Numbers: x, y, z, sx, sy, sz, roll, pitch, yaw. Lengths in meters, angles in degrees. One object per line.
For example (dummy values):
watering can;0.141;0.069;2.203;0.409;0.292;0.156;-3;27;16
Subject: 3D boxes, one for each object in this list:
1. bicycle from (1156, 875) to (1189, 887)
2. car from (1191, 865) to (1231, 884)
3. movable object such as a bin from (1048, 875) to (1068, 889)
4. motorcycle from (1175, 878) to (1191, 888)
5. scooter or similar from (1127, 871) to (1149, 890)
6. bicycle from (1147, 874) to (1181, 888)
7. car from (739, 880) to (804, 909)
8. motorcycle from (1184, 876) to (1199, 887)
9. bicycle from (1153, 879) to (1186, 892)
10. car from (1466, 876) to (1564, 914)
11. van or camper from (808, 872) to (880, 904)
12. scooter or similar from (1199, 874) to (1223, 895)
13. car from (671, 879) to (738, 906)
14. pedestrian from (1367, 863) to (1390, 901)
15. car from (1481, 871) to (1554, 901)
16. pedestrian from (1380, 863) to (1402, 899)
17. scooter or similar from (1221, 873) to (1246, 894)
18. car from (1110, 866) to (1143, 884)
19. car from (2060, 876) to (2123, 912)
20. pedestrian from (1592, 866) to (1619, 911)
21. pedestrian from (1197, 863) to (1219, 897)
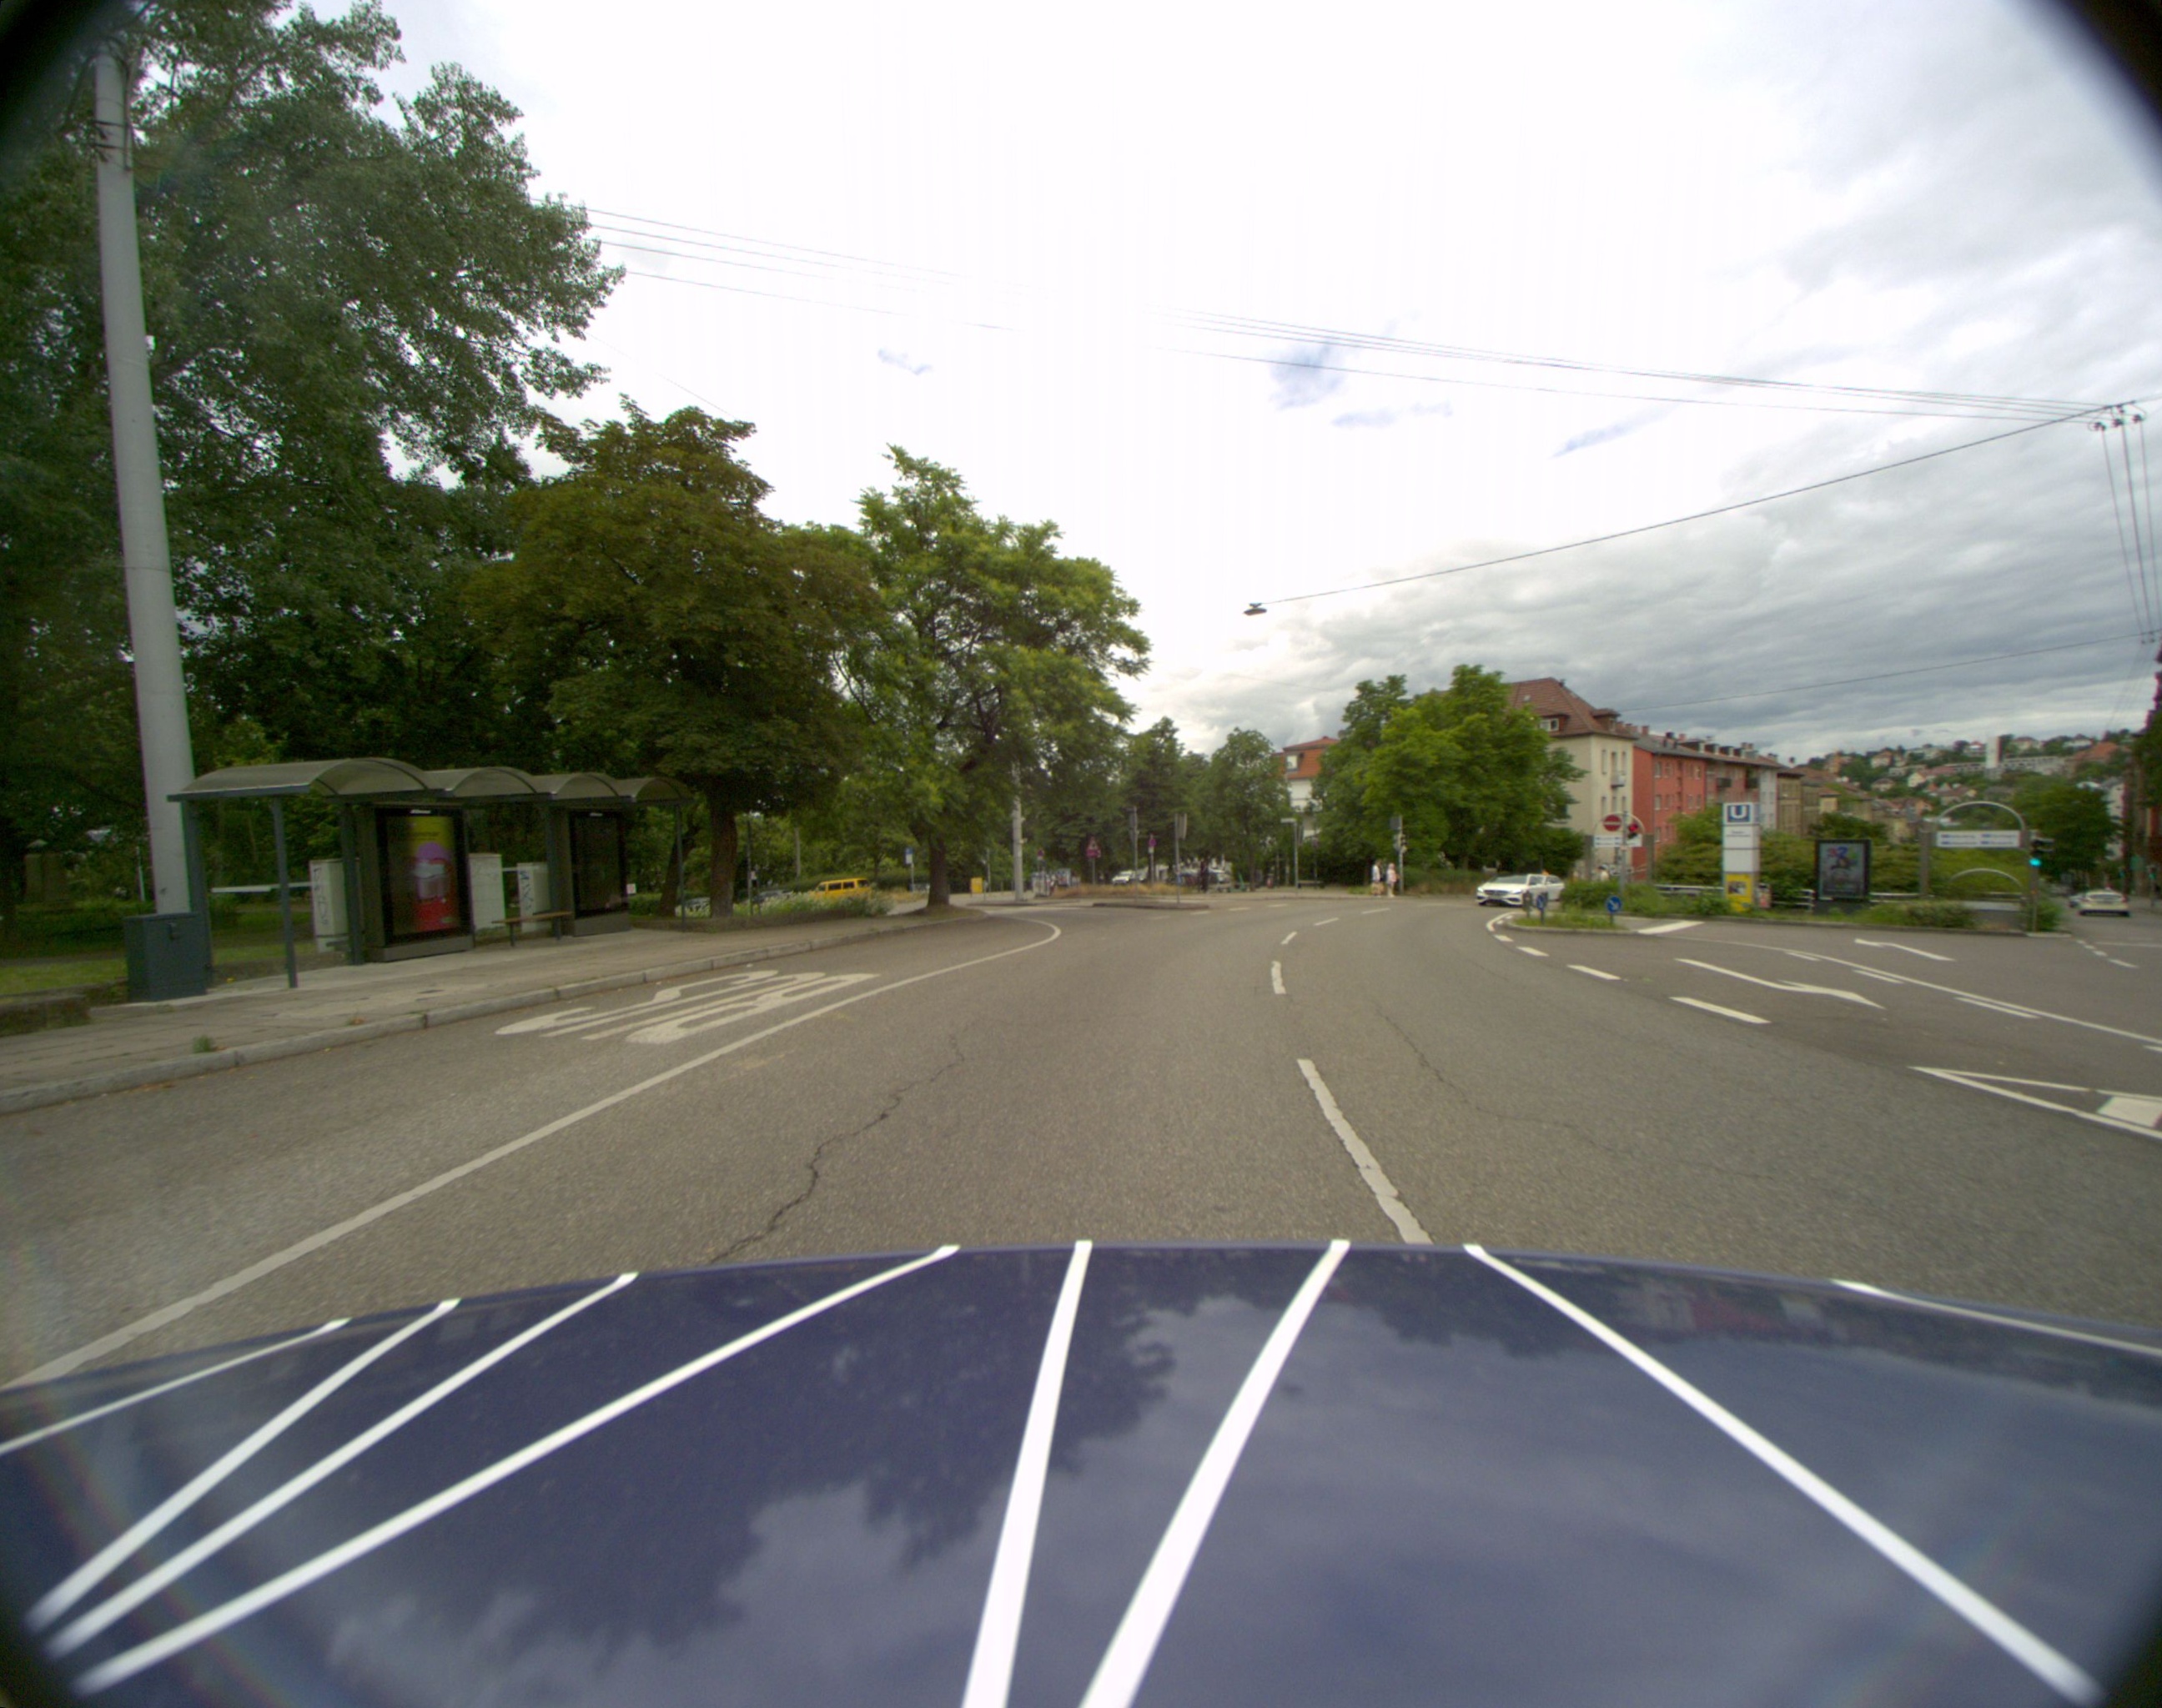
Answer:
bicycle;8.460;2.490;70.376;2.958;1.138;0.921;0;-1;-24
car;13.463;2.123;78.717;3.778;2.001;2.004;0;-1;22
movable object such as a bin;-1.989;2.386;65.216;1.317;1.159;1.059;0;-1;-31
motorcycle;10.055;2.853;74.997;0.753;1.027;2.060;0;-1;31
scooter or similar;3.691;1.699;48.831;1.321;1.240;0.463;0;-1;-17
bicycle;7.340;2.375;67.336;2.958;1.138;0.921;0;-1;-24
car;-22.469;2.886;55.146;3.992;2.001;2.003;0;-1;16
motorcycle;10.841;2.719;74.606;0.753;1.027;2.060;0;-1;31
bicycle;8.042;2.895;69.084;2.958;1.138;0.921;0;-1;-24
car;18.335;1.684;32.078;4.239;1.390;1.994;1;1;-37
van or camper;-16.743;2.387;53.628;4.462;1.966;1.892;-4;0;18
scooter or similar;7.587;1.780;44.450;1.245;1.218;0.502;-2;-1;30
car;-27.963;2.837;56.487;3.995;2.001;2.001;0;-1;5
pedestrian;13.779;1.292;35.162;0.728;1.703;0.615;1;2;-35
car;22.892;1.672;39.803;4.239;1.478;1.995;1;-2;-40
pedestrian;14.820;1.281;36.310;0.728;1.703;0.615;1;2;-35
scooter or similar;8.734;1.688;43.535;1.245;1.218;0.502;-2;-1;30
car;4.976;2.280;82.173;1.995;1.892;4.723;-1;-1;23
car;61.240;2.391;46.107;4.008;2.001;1.994;0;-1;-41
pedestrian;21.638;1.423;31.339;0.615;1.849;0.706;2;-2;-32
pedestrian;7.132;1.459;42.672;0.858;1.875;0.963;0;-1;-21
